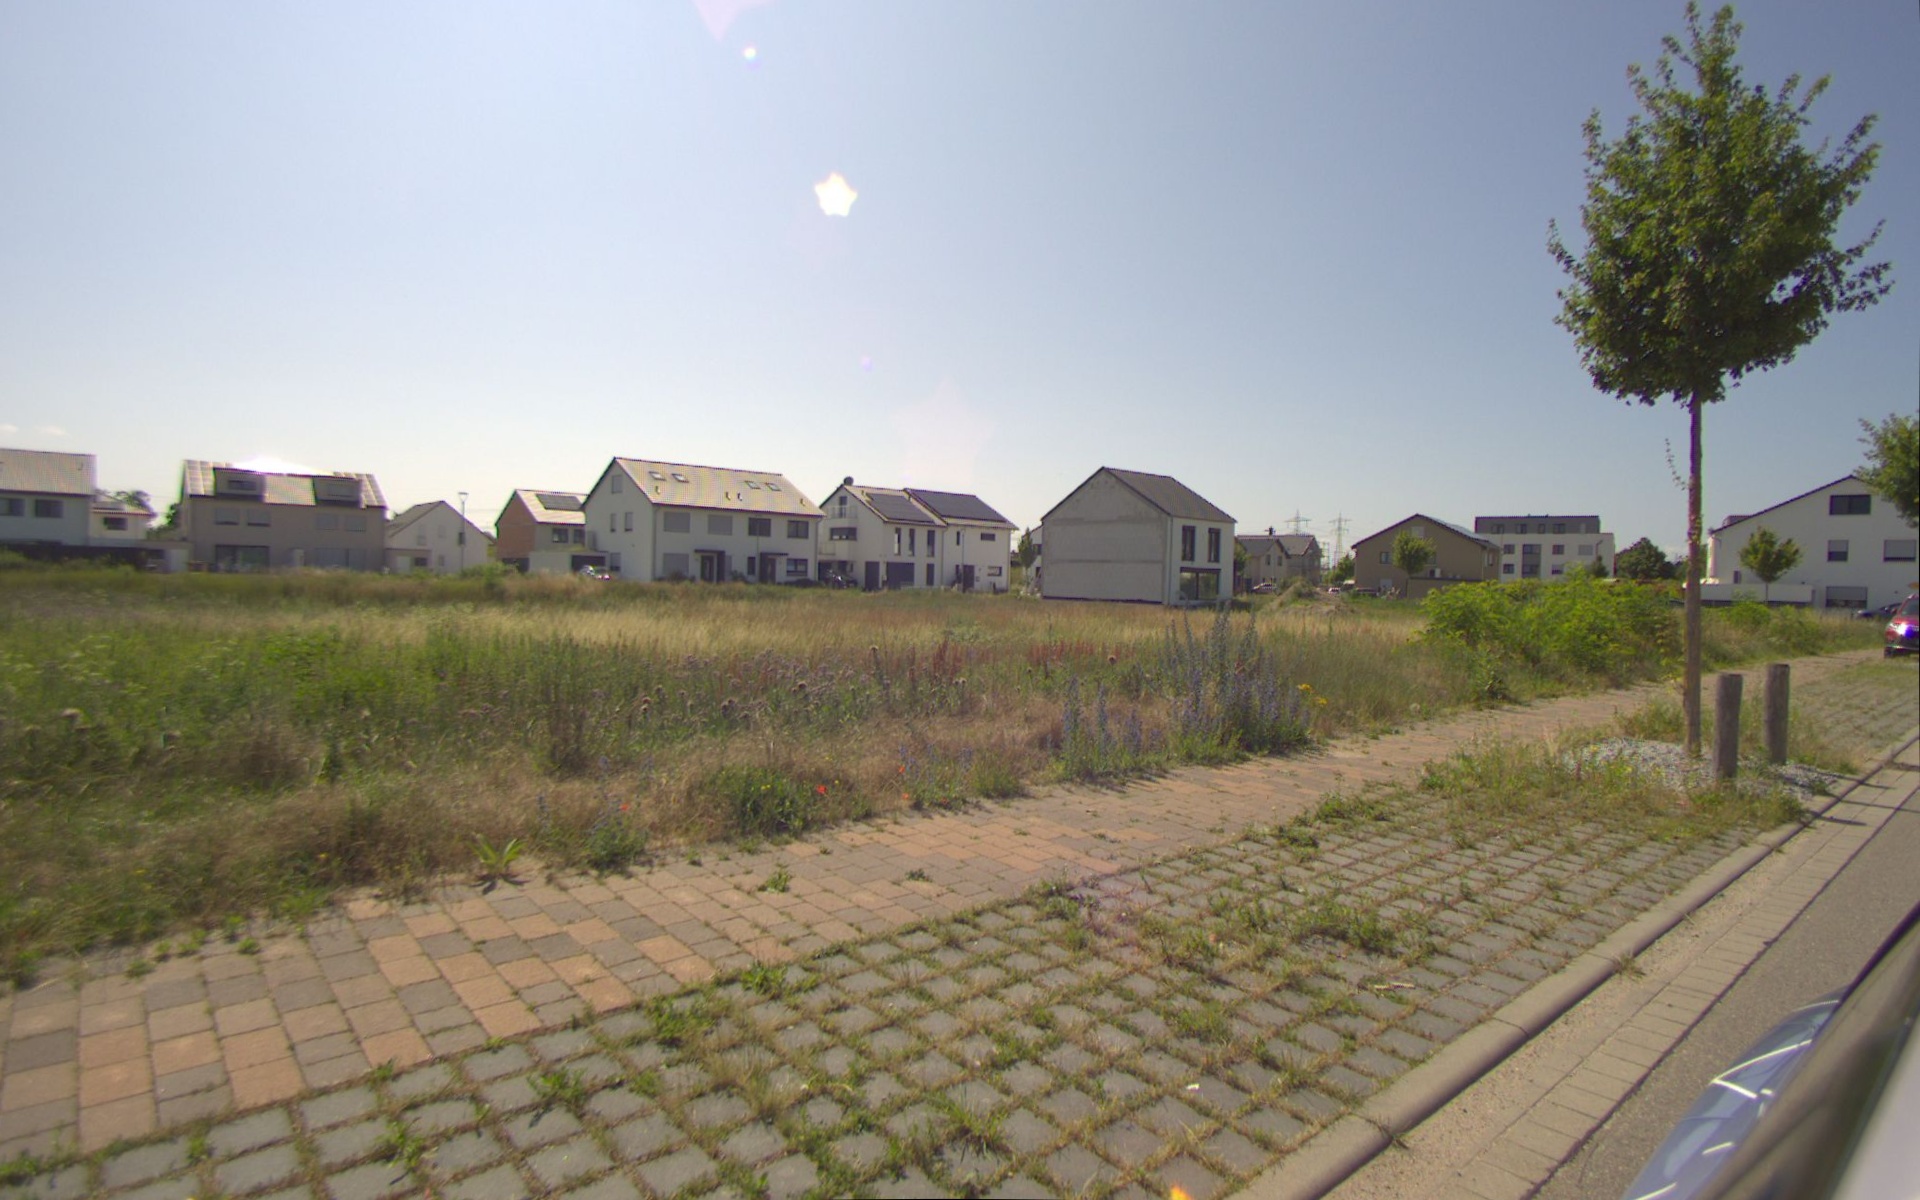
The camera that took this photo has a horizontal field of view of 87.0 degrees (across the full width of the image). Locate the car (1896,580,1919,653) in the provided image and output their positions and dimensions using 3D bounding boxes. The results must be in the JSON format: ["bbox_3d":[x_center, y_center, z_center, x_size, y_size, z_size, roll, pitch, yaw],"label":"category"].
[{"bbox_3d":[24.301,0.449,24.624,4.357,1.683,1.780,1,2,-42],"label":"car"}]

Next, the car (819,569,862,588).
[{"bbox_3d":[-9.906,-1.816,83.984,1.781,1.531,3.999,1,1,-37],"label":"car"}]

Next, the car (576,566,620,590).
[{"bbox_3d":[-25.502,-1.567,71.272,1.781,1.593,3.999,1,1,-37],"label":"car"}]

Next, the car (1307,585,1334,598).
[{"bbox_3d":[41.520,-1.002,116.512,1.660,1.418,3.863,3,2,40],"label":"car"}]

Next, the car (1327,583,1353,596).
[{"bbox_3d":[45.581,-1.256,121.327,1.742,1.521,3.942,3,2,40],"label":"car"}]

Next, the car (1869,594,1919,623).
[{"bbox_3d":[55.216,0.512,58.122,1.927,1.577,4.343,1,1,-42],"label":"car"}]
